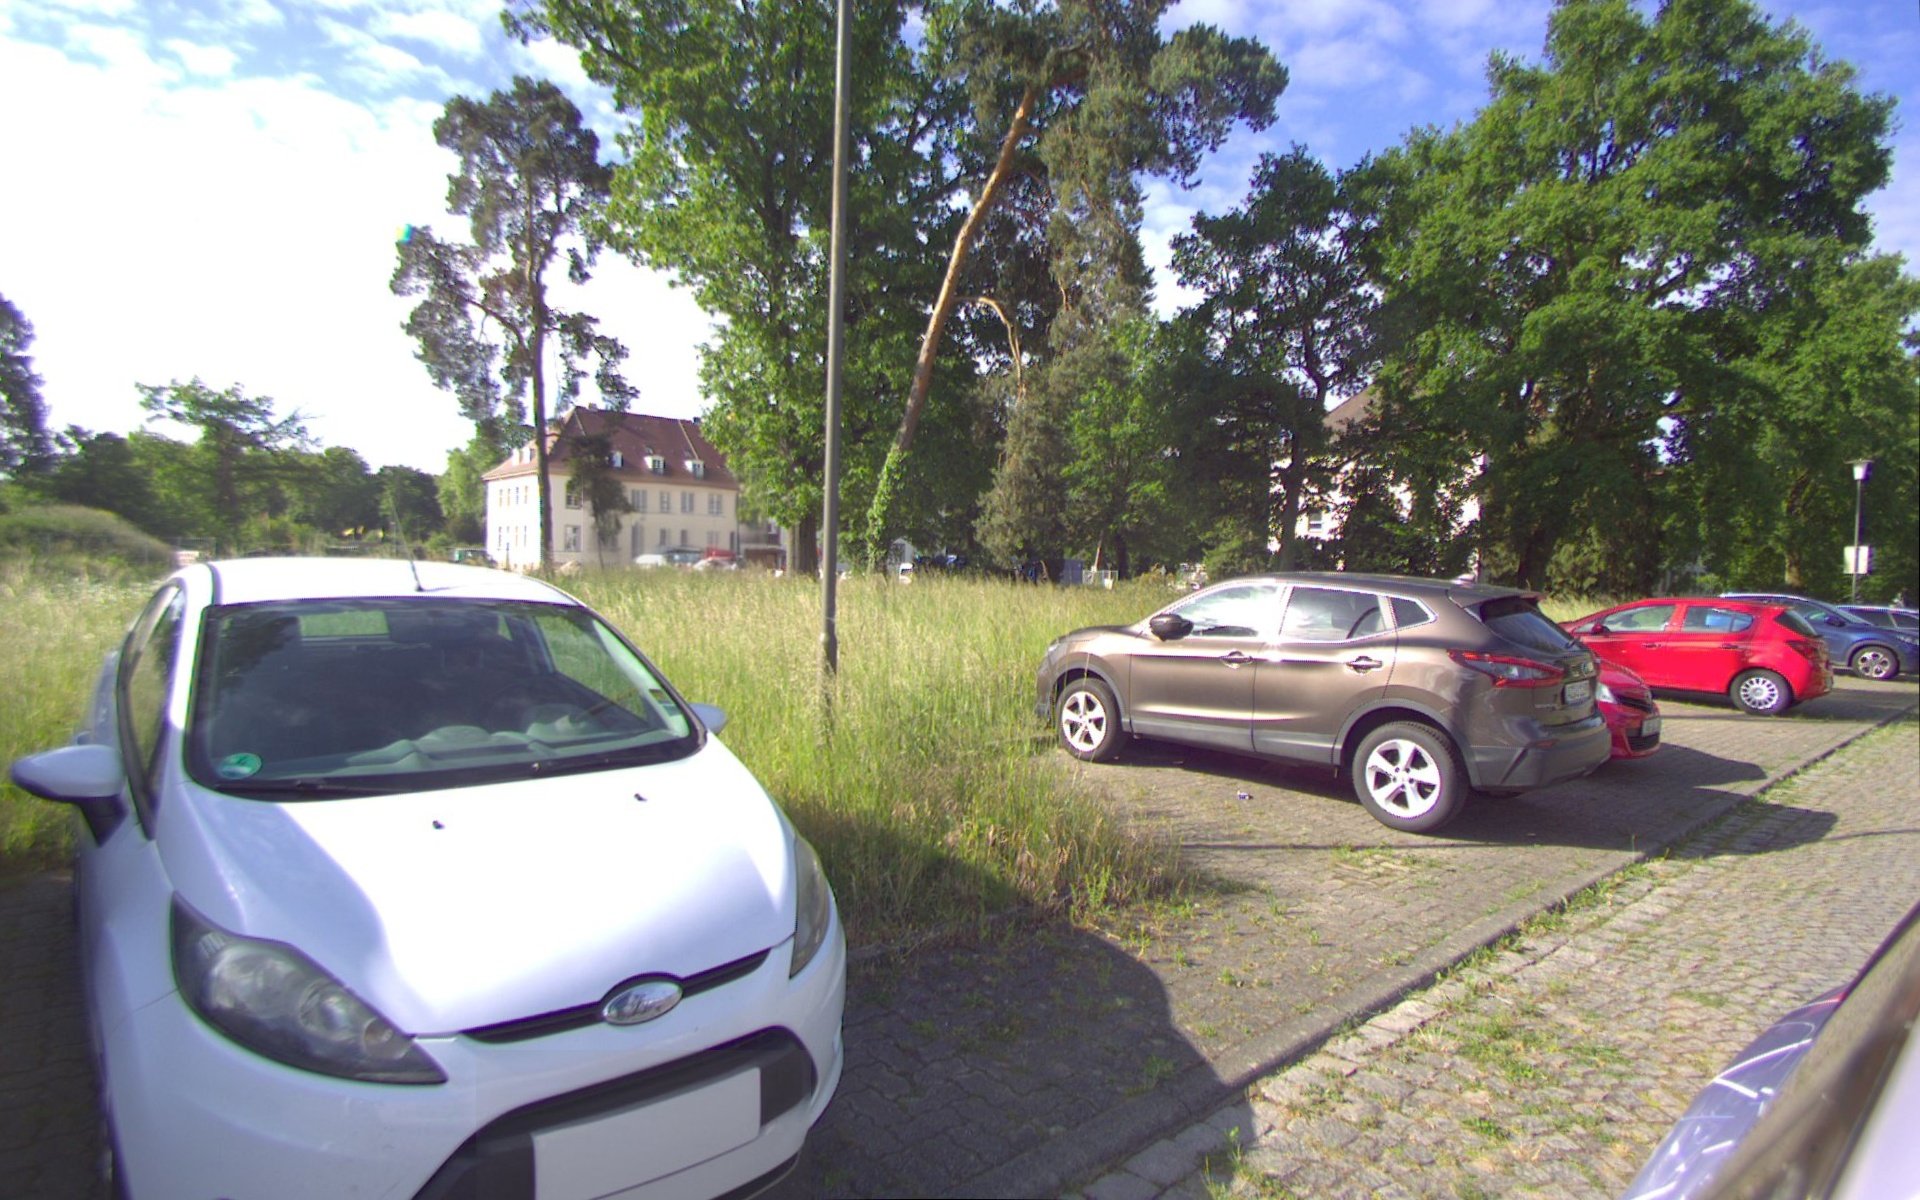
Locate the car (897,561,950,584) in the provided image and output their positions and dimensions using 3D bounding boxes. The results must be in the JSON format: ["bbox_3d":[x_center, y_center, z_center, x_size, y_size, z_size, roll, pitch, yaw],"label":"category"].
[{"bbox_3d":[-3.166,-2.355,87.149,4.317,1.963,1.905,-1,0,-40],"label":"car"}]

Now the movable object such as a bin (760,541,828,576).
[{"bbox_3d":[-16.857,-4.205,103.147,6.337,3.342,2.862,0,0,6],"label":"movable object such as a bin"}]

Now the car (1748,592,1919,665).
[{"bbox_3d":[21.467,0.671,23.984,1.754,1.440,4.095,1,3,-42],"label":"car"}]

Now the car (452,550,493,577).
[{"bbox_3d":[-42.250,-3.126,87.699,1.967,2.240,4.422,0,0,-44],"label":"car"}]

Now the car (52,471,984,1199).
[{"bbox_3d":[-2.108,0.460,3.859,1.905,1.596,4.407,0,3,-41],"label":"car"}]

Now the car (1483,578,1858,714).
[{"bbox_3d":[10.138,0.545,14.692,1.821,1.477,4.095,1,3,-42],"label":"car"}]

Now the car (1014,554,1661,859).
[{"bbox_3d":[2.608,0.509,7.777,1.902,1.617,4.231,-1,3,-43],"label":"car"}]

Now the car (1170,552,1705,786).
[{"bbox_3d":[4.379,0.441,9.801,1.902,1.617,4.232,-1,4,-43],"label":"car"}]

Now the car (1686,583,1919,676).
[{"bbox_3d":[17.873,0.559,21.104,1.821,1.576,4.095,1,3,-42],"label":"car"}]
